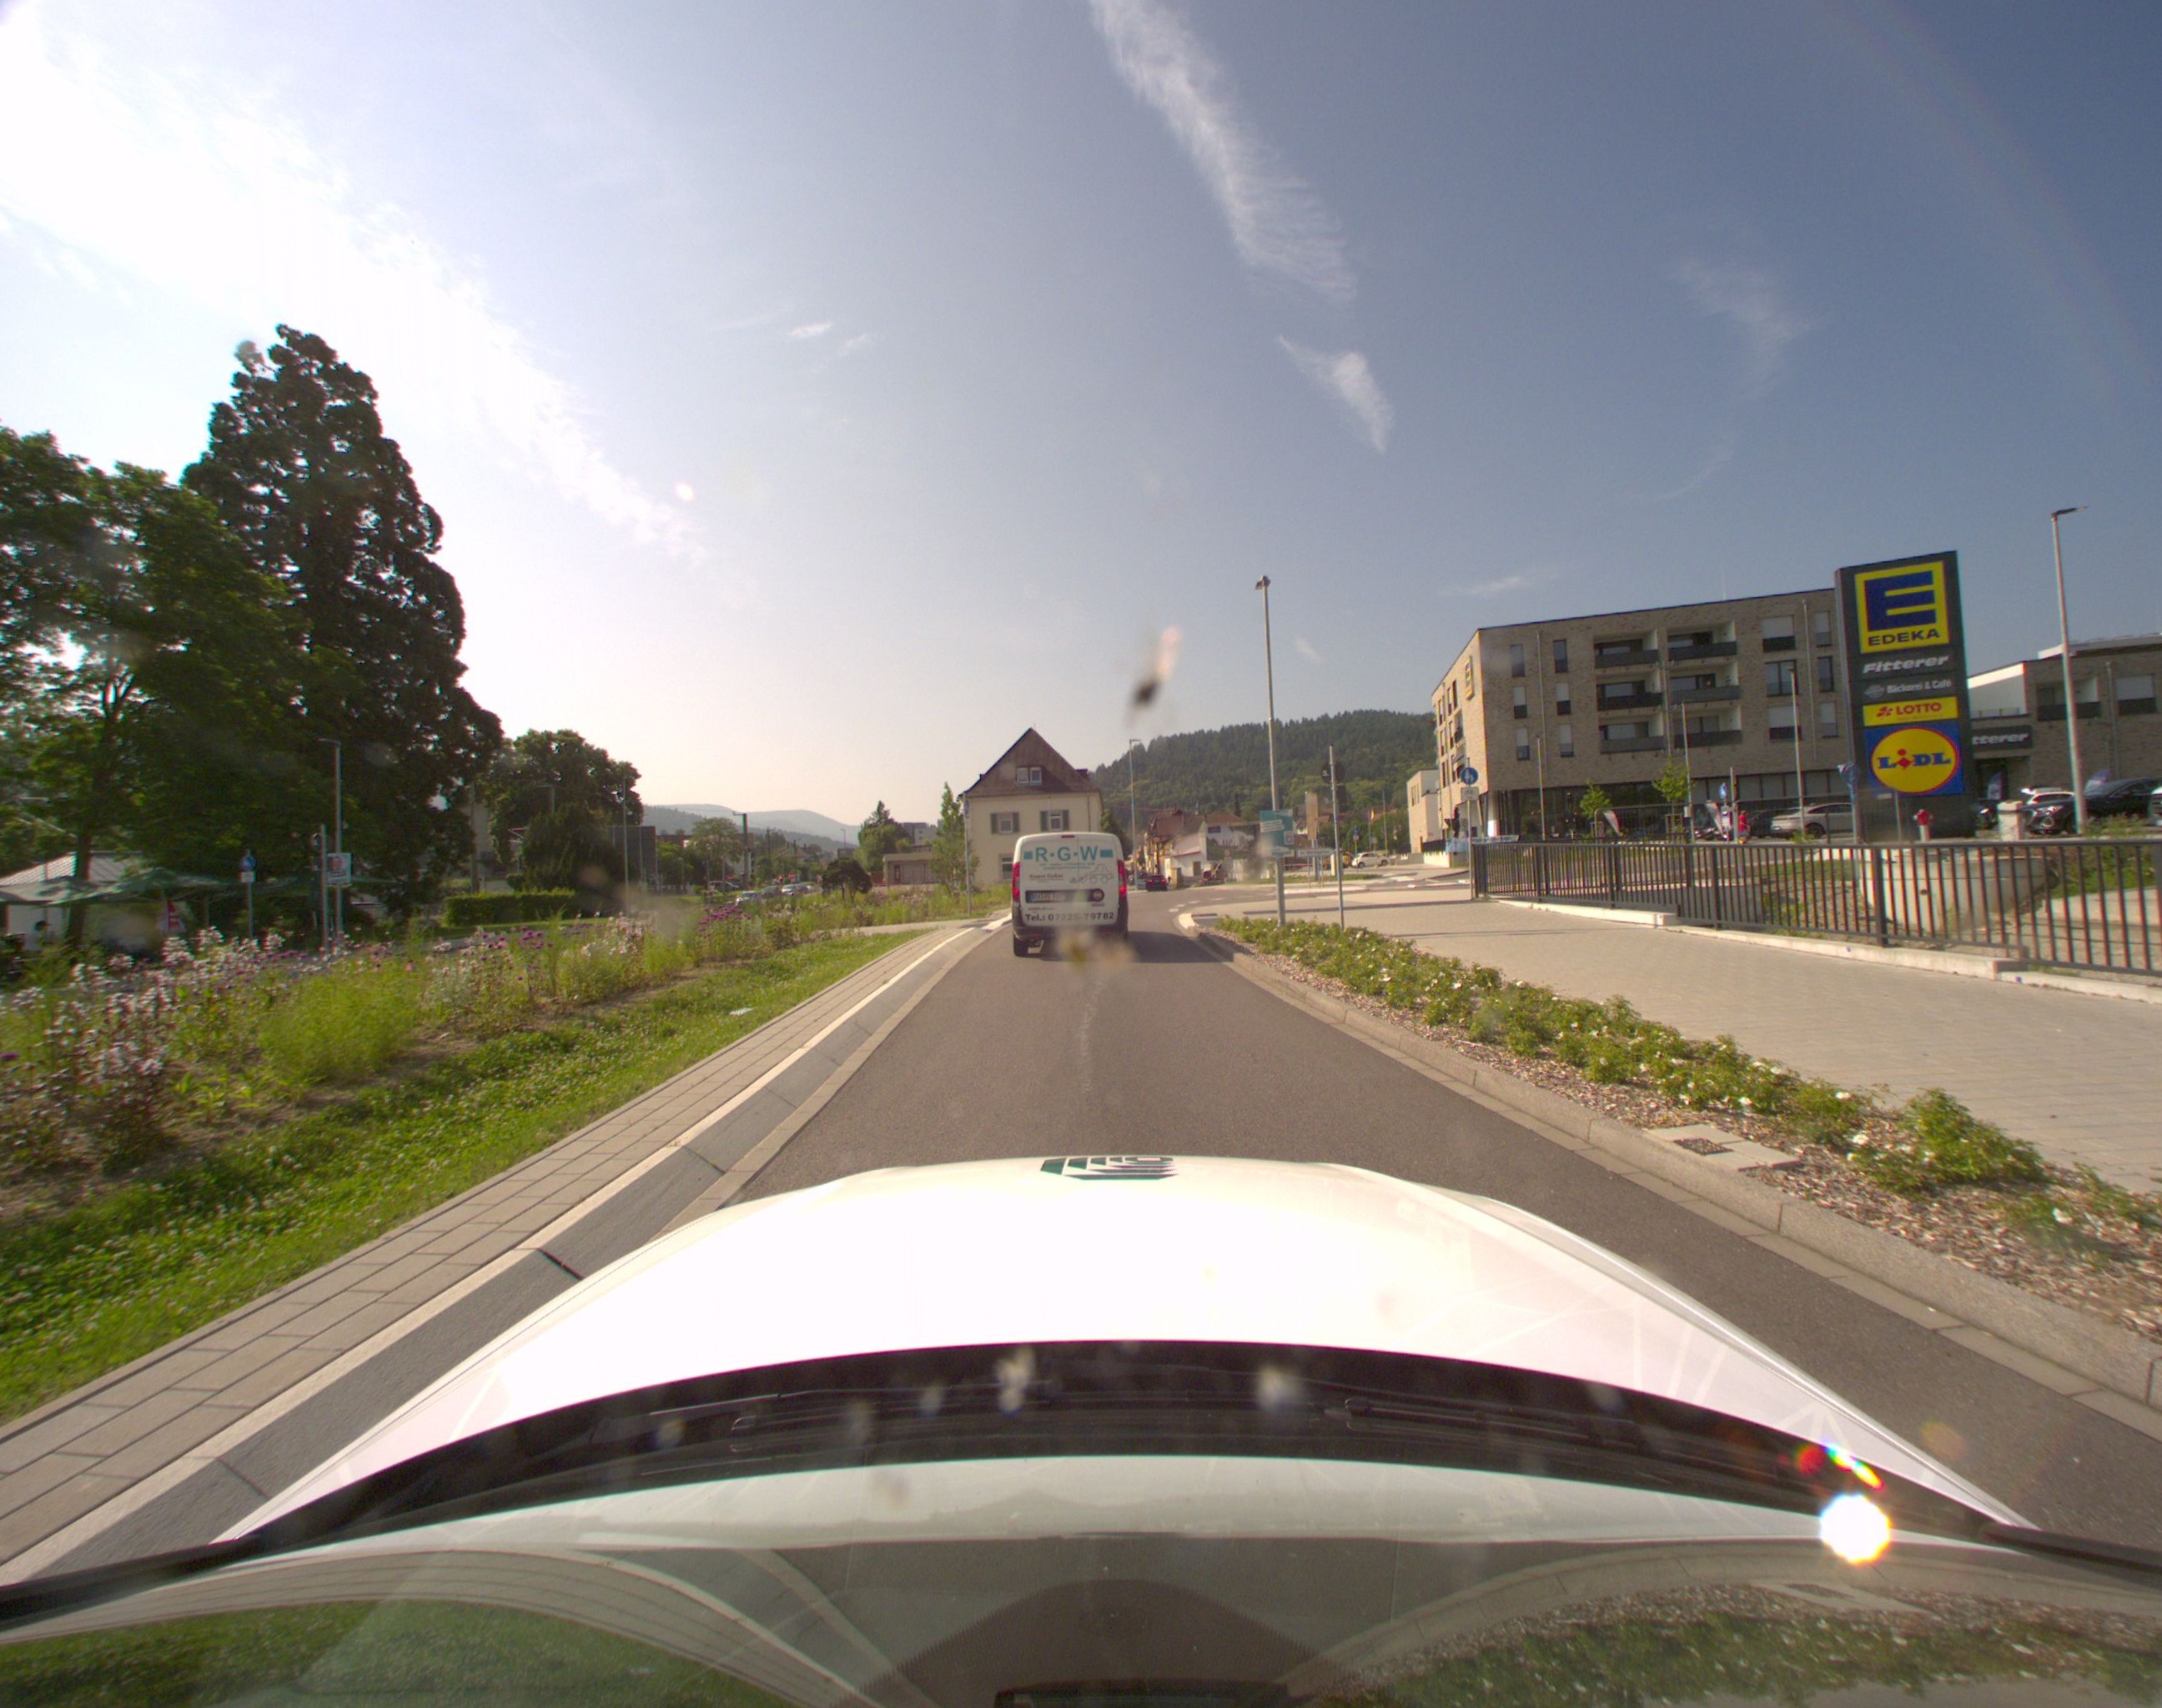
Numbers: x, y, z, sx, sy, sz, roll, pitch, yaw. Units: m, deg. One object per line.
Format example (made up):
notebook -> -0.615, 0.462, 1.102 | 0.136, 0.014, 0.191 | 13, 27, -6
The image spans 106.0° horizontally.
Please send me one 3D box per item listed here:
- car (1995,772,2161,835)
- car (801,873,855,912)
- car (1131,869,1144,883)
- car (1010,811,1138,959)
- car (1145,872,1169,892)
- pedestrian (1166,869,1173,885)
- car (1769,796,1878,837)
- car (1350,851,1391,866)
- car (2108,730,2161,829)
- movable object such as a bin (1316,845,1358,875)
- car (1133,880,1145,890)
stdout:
car -> 28.536, -1.416, 22.484 | 3.950, 1.447, 1.687 | -5, -2, 25
car -> -14.809, 2.214, 47.808 | 1.804, 2.013, 3.999 | -4, 0, 0
car -> 8.868, 3.466, 127.846 | 1.985, 2.014, 4.004 | -4, -2, 4
car -> -0.024, 0.441, 13.993 | 1.799, 2.078, 4.606 | -1, 0, 2
car -> 6.990, 2.531, 74.445 | 1.871, 1.684, 4.008 | -4, -2, 7
pedestrian -> 11.819, 3.059, 108.835 | 0.688, 2.014, 0.636 | -4, -2, 1
car -> 35.340, -1.766, 38.851 | 3.461, 1.593, 1.492 | -4, -2, 15
car -> 28.618, 0.483, 80.516 | 3.459, 1.303, 1.470 | -3, -1, 4
car -> 25.843, -1.796, 17.582 | 3.951, 2.136, 2.011 | -5, -2, 23
movable object such as a bin -> 17.009, 0.412, 54.165 | 2.427, 1.844, 1.433 | -4, -2, 11
car -> 6.749, 3.537, 94.214 | 1.300, 1.003, 3.093 | -4, -2, 3
